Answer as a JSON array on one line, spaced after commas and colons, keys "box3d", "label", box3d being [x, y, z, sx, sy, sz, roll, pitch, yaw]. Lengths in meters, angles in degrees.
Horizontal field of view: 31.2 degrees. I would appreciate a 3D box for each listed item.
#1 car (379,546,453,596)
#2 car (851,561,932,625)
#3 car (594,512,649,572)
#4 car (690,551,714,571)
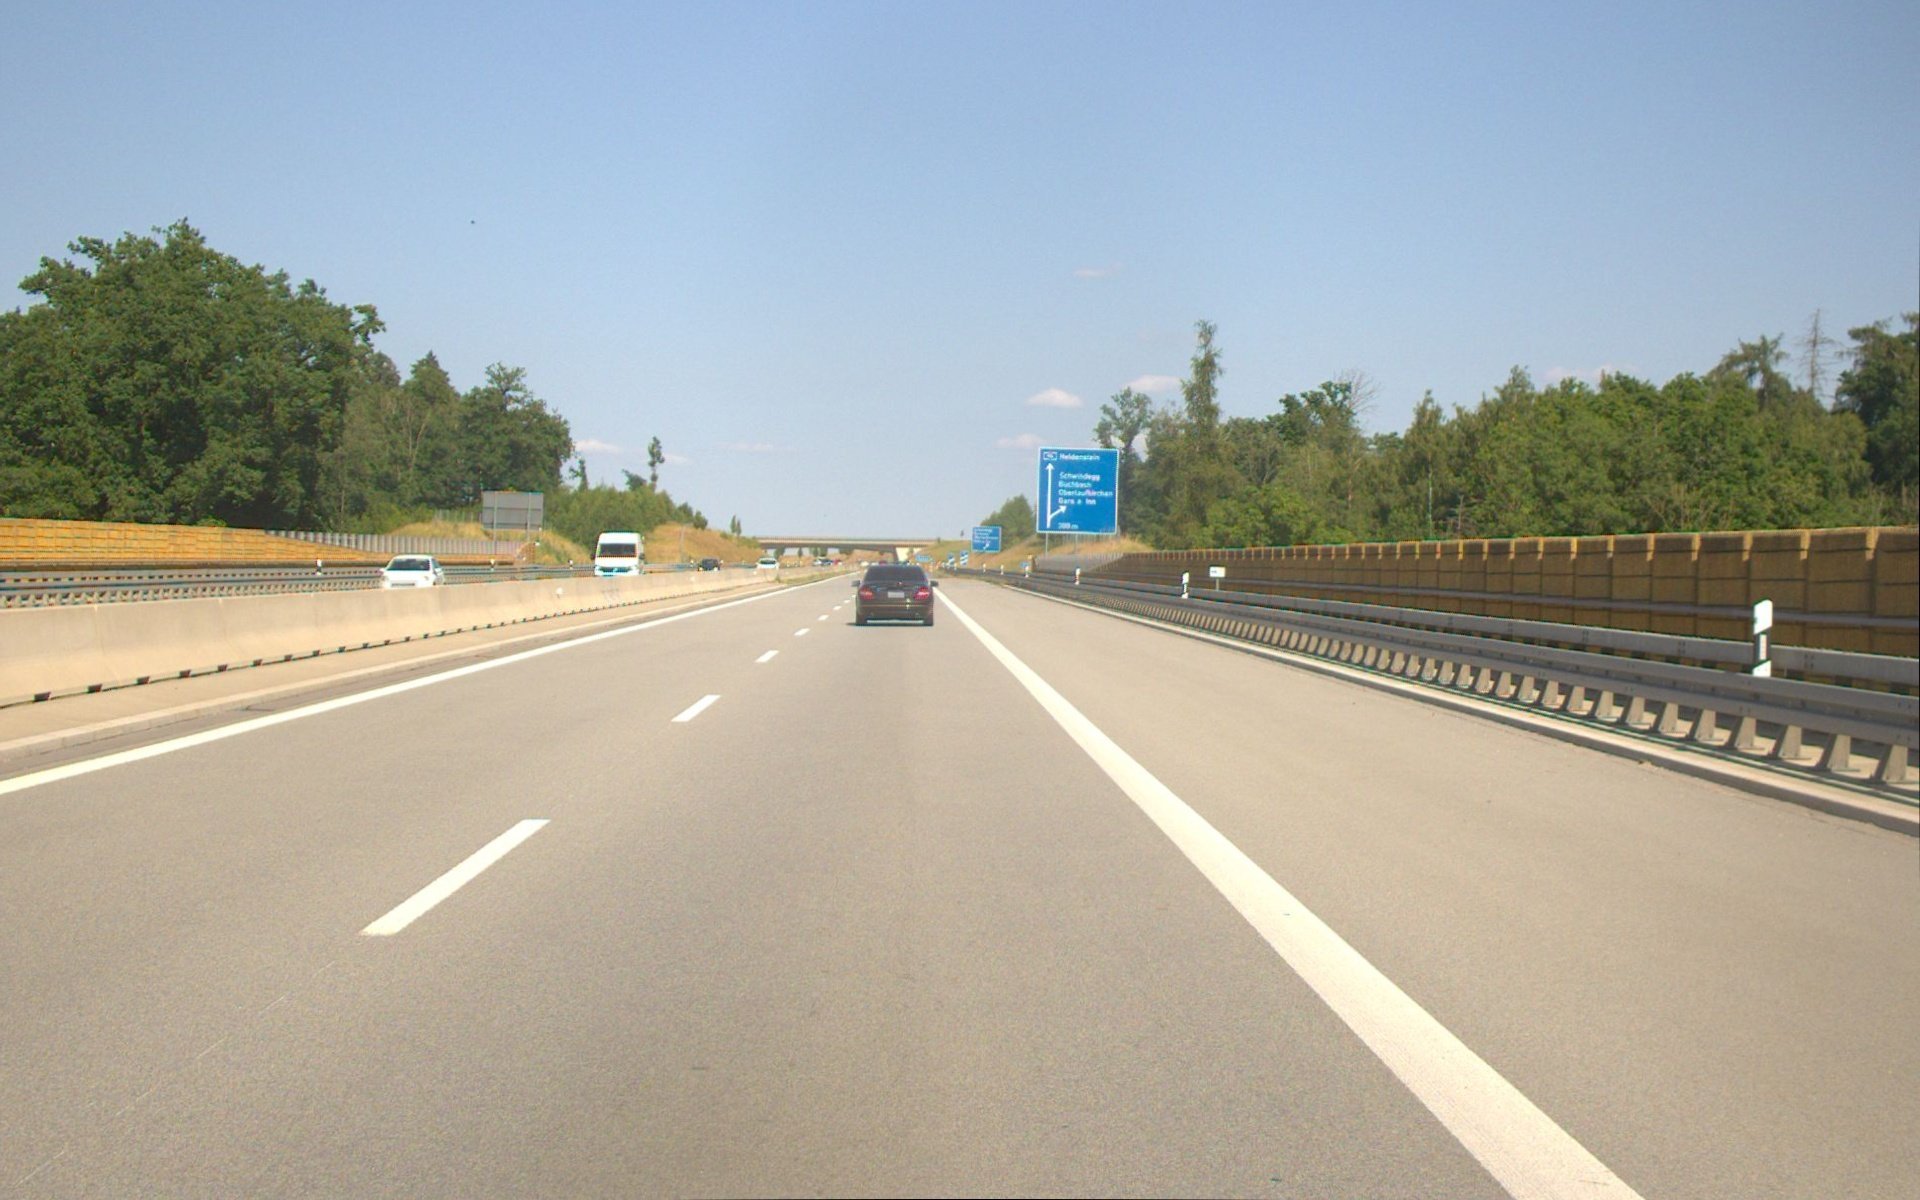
[{"box3d": [-17.008, -0.914, 107.676, 1.647, 1.503, 4.332, 0, 1, 0], "label": "car"}, {"box3d": [-1.532, -0.175, 78.390, 1.790, 1.369, 3.917, 1, 1, 0], "label": "car"}, {"box3d": [-15.311, -2.621, 155.800, 2.023, 2.661, 6.488, 1, 1, -2], "label": "car"}, {"box3d": [-19.241, -2.885, 256.545, 1.579, 1.453, 4.450, 0, 1, -1], "label": "car"}]
